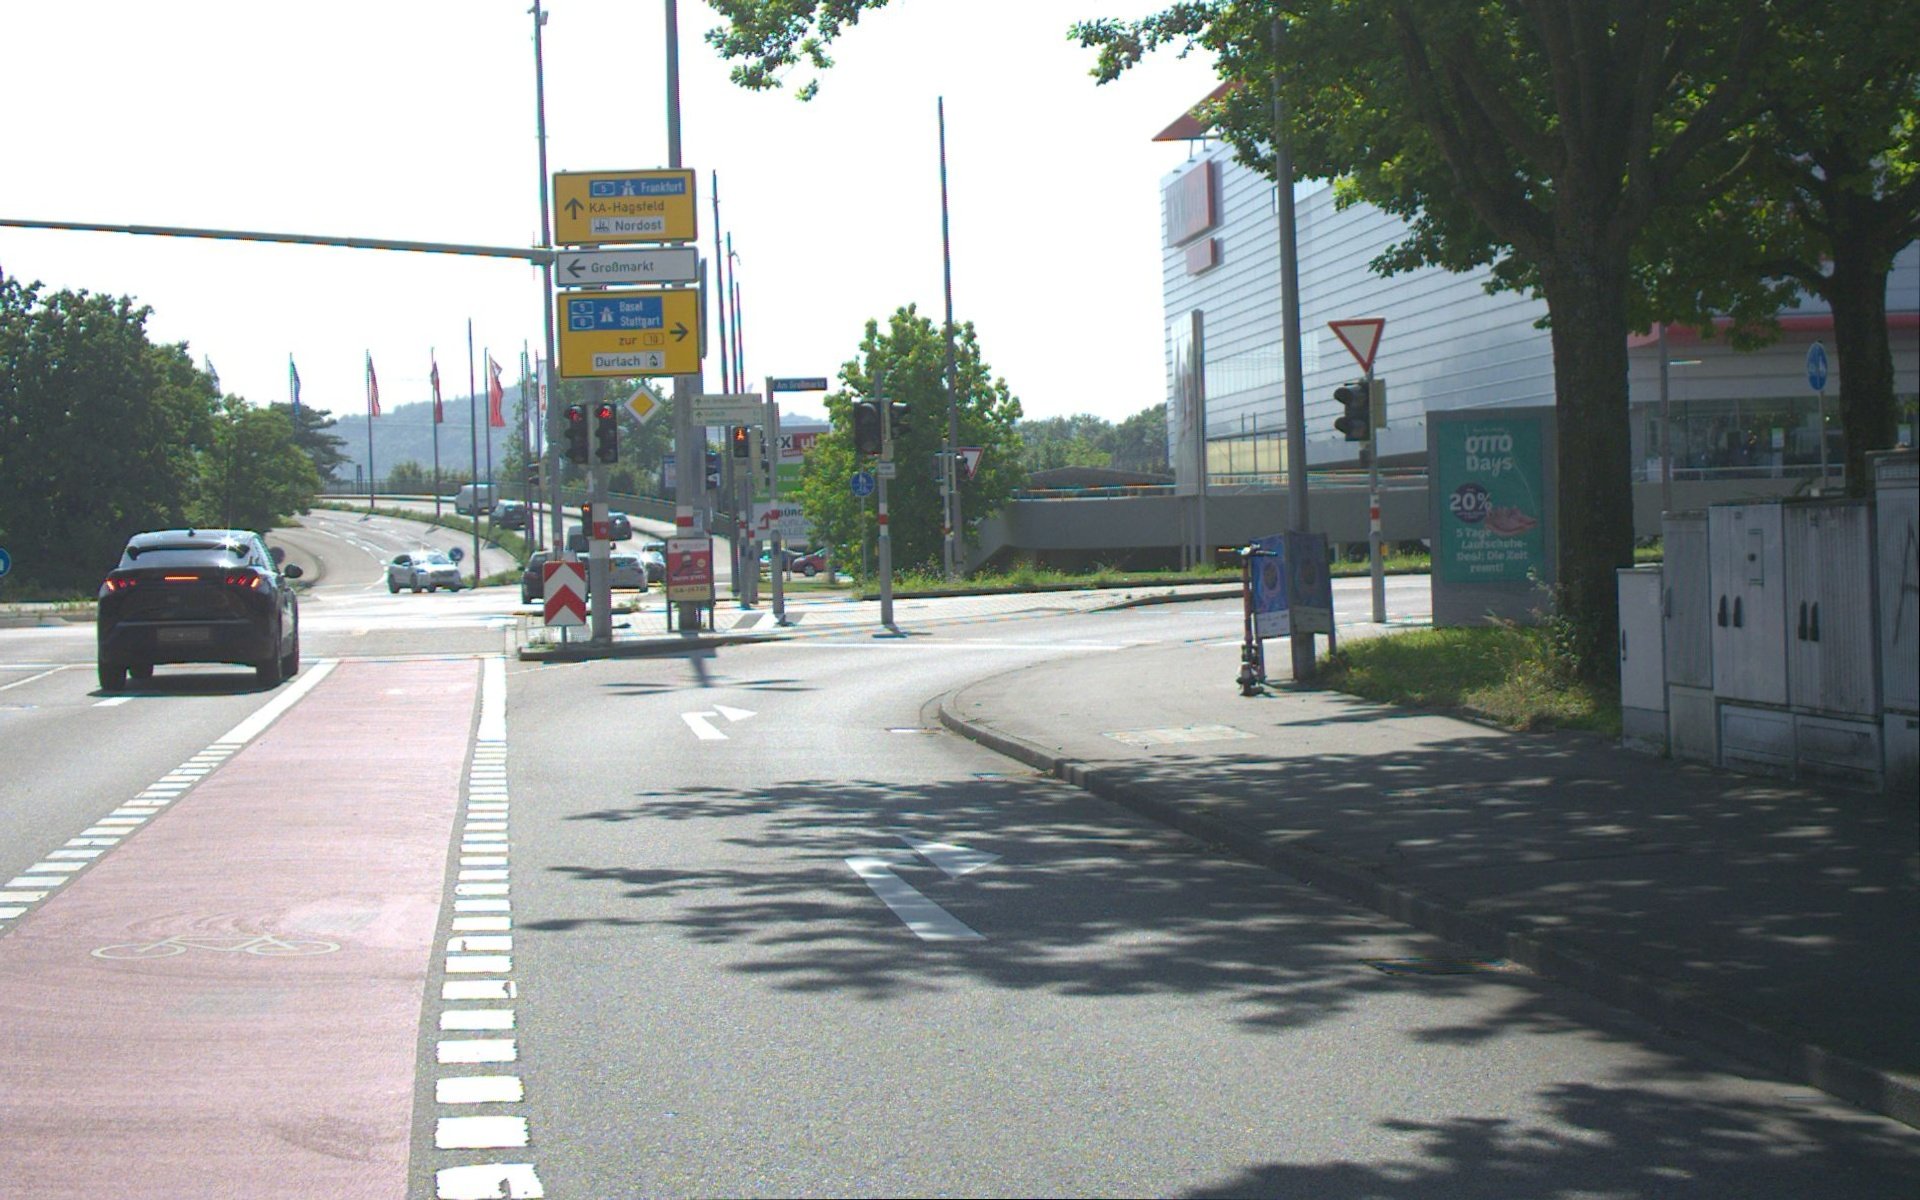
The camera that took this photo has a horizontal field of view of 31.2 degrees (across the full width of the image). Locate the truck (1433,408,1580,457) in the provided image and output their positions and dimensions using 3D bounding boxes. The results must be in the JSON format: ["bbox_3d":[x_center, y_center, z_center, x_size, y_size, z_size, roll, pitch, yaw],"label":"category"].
[{"bbox_3d":[23.418,-7.176,147.408,5.908,2.006,2.001,0,2,-5],"label":"truck"}]

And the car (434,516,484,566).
[{"bbox_3d":[-21.277,-2.514,146.121,1.993,2.006,3.982,0,2,-7],"label":"car"}]

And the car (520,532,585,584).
[{"bbox_3d":[-11.402,-1.187,96.340,1.688,1.354,4.001,0,2,-5],"label":"car"}]

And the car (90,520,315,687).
[{"bbox_3d":[-8.110,-0.015,37.142,1.807,1.634,4.460,-2,1,-6],"label":"car"}]

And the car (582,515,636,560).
[{"bbox_3d":[-11.443,-2.058,112.174,1.688,1.354,4.001,0,2,-5],"label":"car"}]

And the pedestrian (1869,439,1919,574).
[{"bbox_3d":[12.539,-1.240,45.448,0.627,1.764,0.805,-3,1,-17],"label":"pedestrian"}]

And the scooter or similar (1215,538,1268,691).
[{"bbox_3d":[2.371,0.108,28.908,0.351,1.229,1.311,-2,1,6],"label":"scooter or similar"}]

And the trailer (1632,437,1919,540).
[{"bbox_3d":[22.819,-2.745,85.326,11.869,2.460,2.000,0,2,-3],"label":"trailer"}]

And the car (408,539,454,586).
[{"bbox_3d":[-21.290,-1.518,138.334,1.759,1.787,3.348,-2,1,-8],"label":"car"}]

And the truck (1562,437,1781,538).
[{"bbox_3d":[17.567,-2.790,85.011,4.880,2.415,2.001,0,2,-4],"label":"truck"}]
